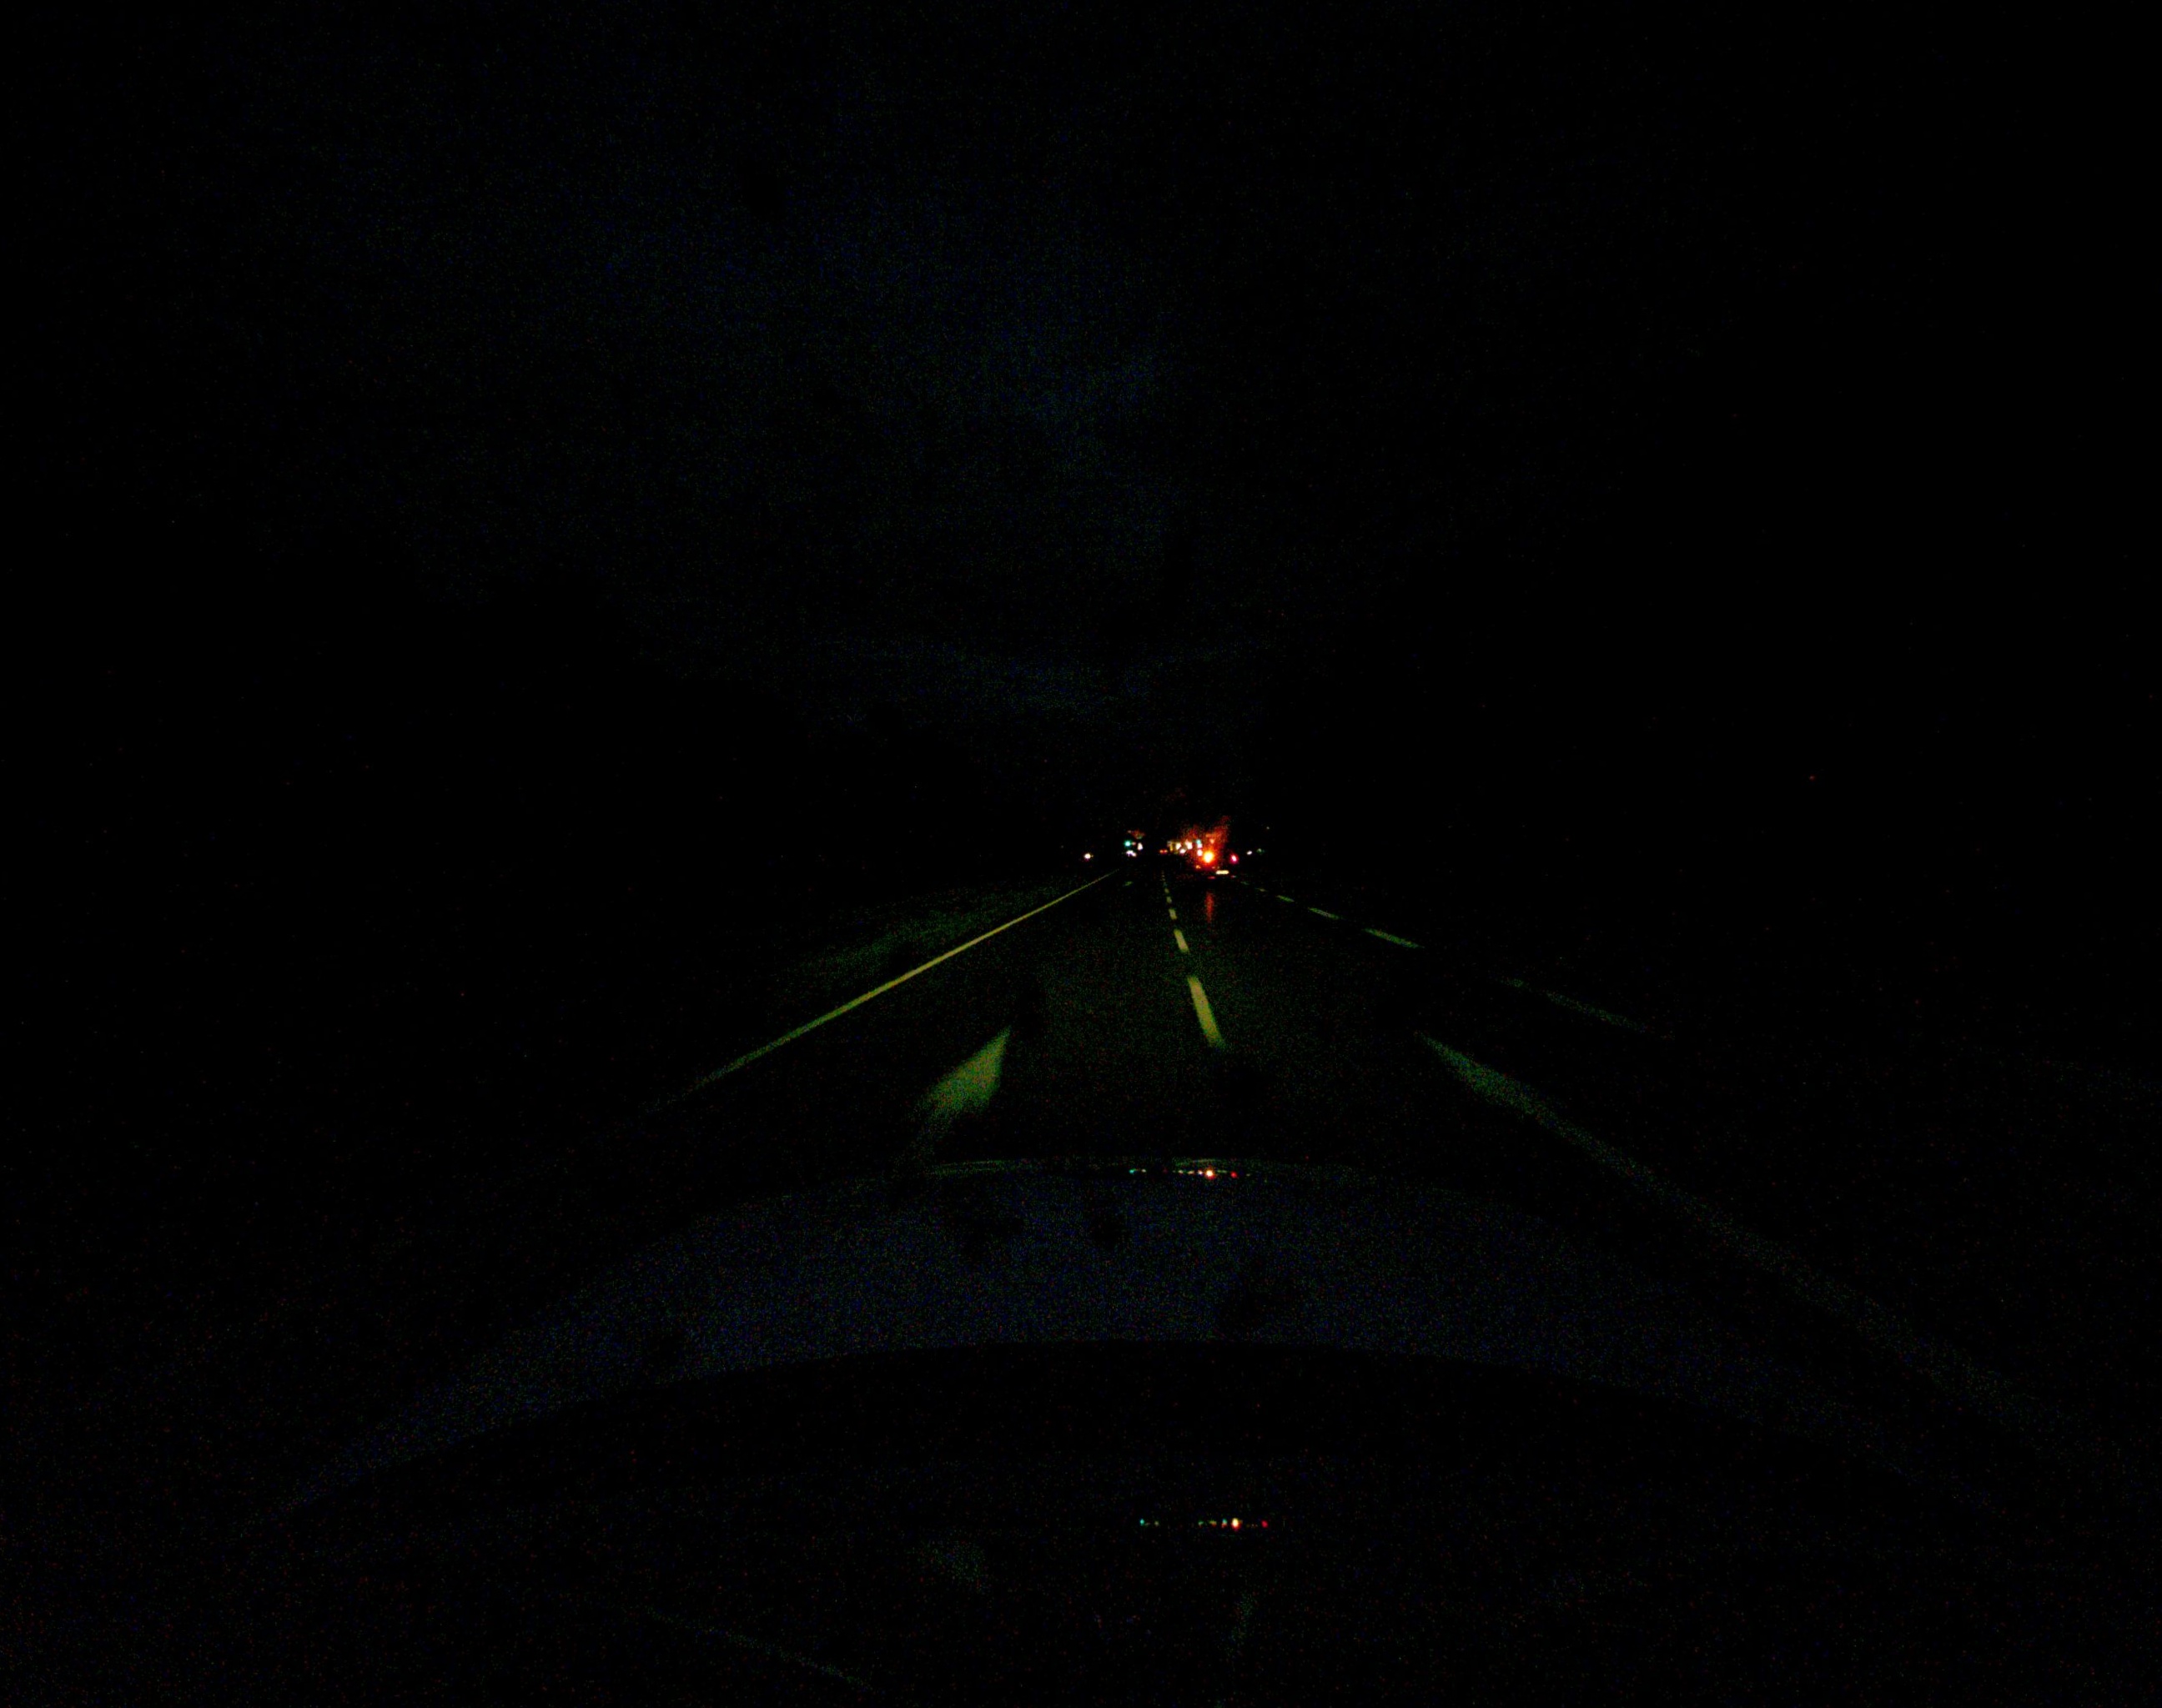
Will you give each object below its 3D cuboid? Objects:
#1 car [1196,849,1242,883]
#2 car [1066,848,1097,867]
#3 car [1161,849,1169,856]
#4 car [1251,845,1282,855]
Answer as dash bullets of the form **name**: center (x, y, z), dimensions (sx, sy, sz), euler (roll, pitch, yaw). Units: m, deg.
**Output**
- **car**: center (6.361, 0.532, 38.027), dimensions (1.744, 1.453, 4.439), euler (-2, 0, 5)
- **car**: center (0.079, 0.306, 70.078), dimensions (1.983, 1.453, 4.743), euler (-6, -1, 6)
- **car**: center (24.433, -0.417, 236.150), dimensions (1.985, 1.750, 4.004), euler (-6, -1, 4)
- **car**: center (30.098, -0.628, 132.217), dimensions (4.692, 1.453, 2.005), euler (-2, 0, 8)
